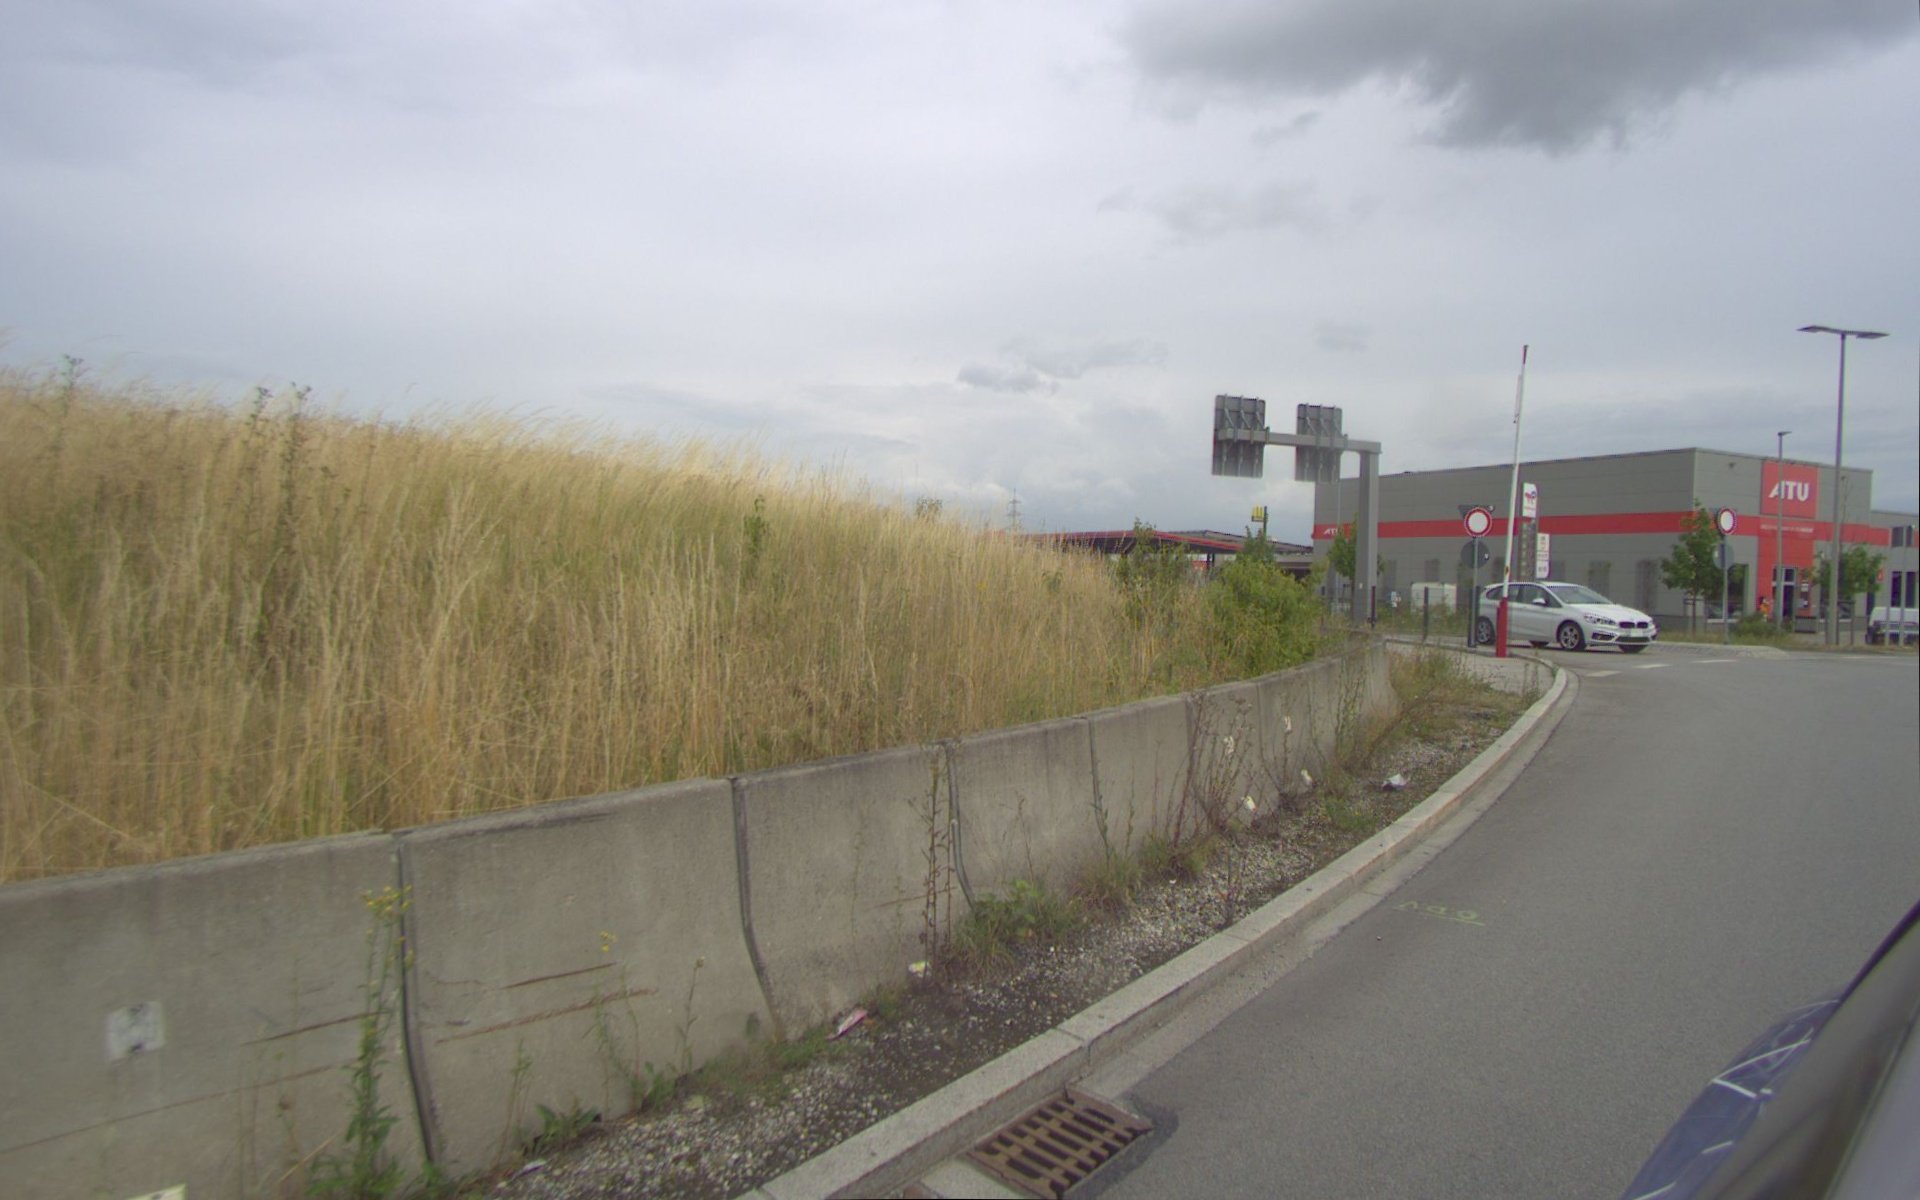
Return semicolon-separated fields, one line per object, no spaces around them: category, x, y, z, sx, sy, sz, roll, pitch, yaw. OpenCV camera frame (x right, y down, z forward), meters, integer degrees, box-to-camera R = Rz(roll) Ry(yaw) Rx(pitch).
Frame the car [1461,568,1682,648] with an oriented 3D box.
car;13.986;0.126;23.488;1.747;1.649;4.437;1;1;-13

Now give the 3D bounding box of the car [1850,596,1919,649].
car;39.749;0.954;41.020;1.959;2.072;5.086;1;1;-28
